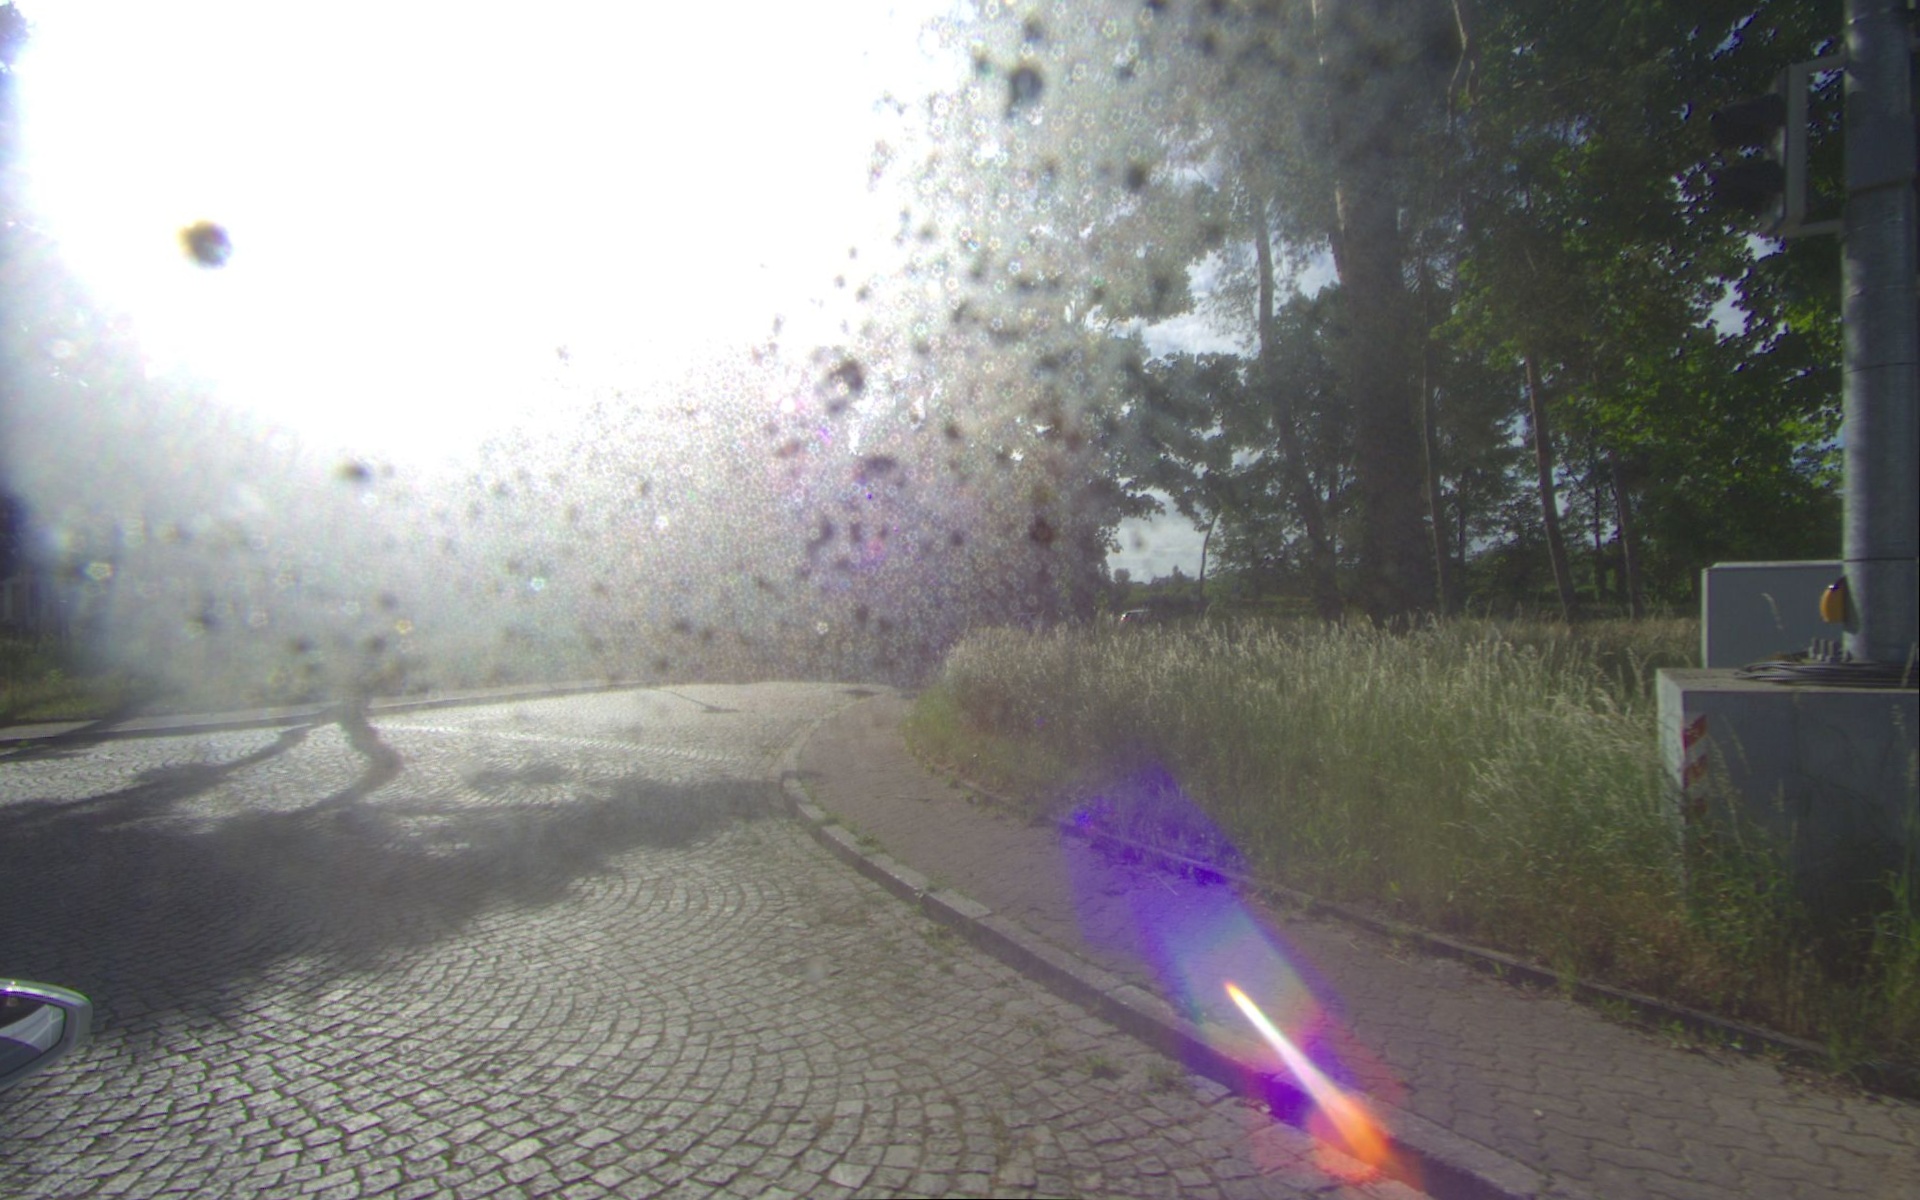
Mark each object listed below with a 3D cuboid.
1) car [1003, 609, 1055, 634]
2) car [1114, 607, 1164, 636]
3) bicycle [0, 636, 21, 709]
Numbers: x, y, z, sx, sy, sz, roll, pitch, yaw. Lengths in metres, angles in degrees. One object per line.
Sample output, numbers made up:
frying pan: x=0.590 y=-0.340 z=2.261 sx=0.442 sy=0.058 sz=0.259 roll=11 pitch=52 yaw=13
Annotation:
car: x=4.301 y=1.312 z=61.964 sx=1.818 sy=1.483 sz=3.986 roll=-1 pitch=0 yaw=26
car: x=10.331 y=1.222 z=57.670 sx=1.826 sy=1.619 sz=3.986 roll=-1 pitch=0 yaw=26
bicycle: x=-15.061 y=1.117 z=15.525 sx=1.157 sy=1.094 sz=0.465 roll=-1 pitch=0 yaw=33
